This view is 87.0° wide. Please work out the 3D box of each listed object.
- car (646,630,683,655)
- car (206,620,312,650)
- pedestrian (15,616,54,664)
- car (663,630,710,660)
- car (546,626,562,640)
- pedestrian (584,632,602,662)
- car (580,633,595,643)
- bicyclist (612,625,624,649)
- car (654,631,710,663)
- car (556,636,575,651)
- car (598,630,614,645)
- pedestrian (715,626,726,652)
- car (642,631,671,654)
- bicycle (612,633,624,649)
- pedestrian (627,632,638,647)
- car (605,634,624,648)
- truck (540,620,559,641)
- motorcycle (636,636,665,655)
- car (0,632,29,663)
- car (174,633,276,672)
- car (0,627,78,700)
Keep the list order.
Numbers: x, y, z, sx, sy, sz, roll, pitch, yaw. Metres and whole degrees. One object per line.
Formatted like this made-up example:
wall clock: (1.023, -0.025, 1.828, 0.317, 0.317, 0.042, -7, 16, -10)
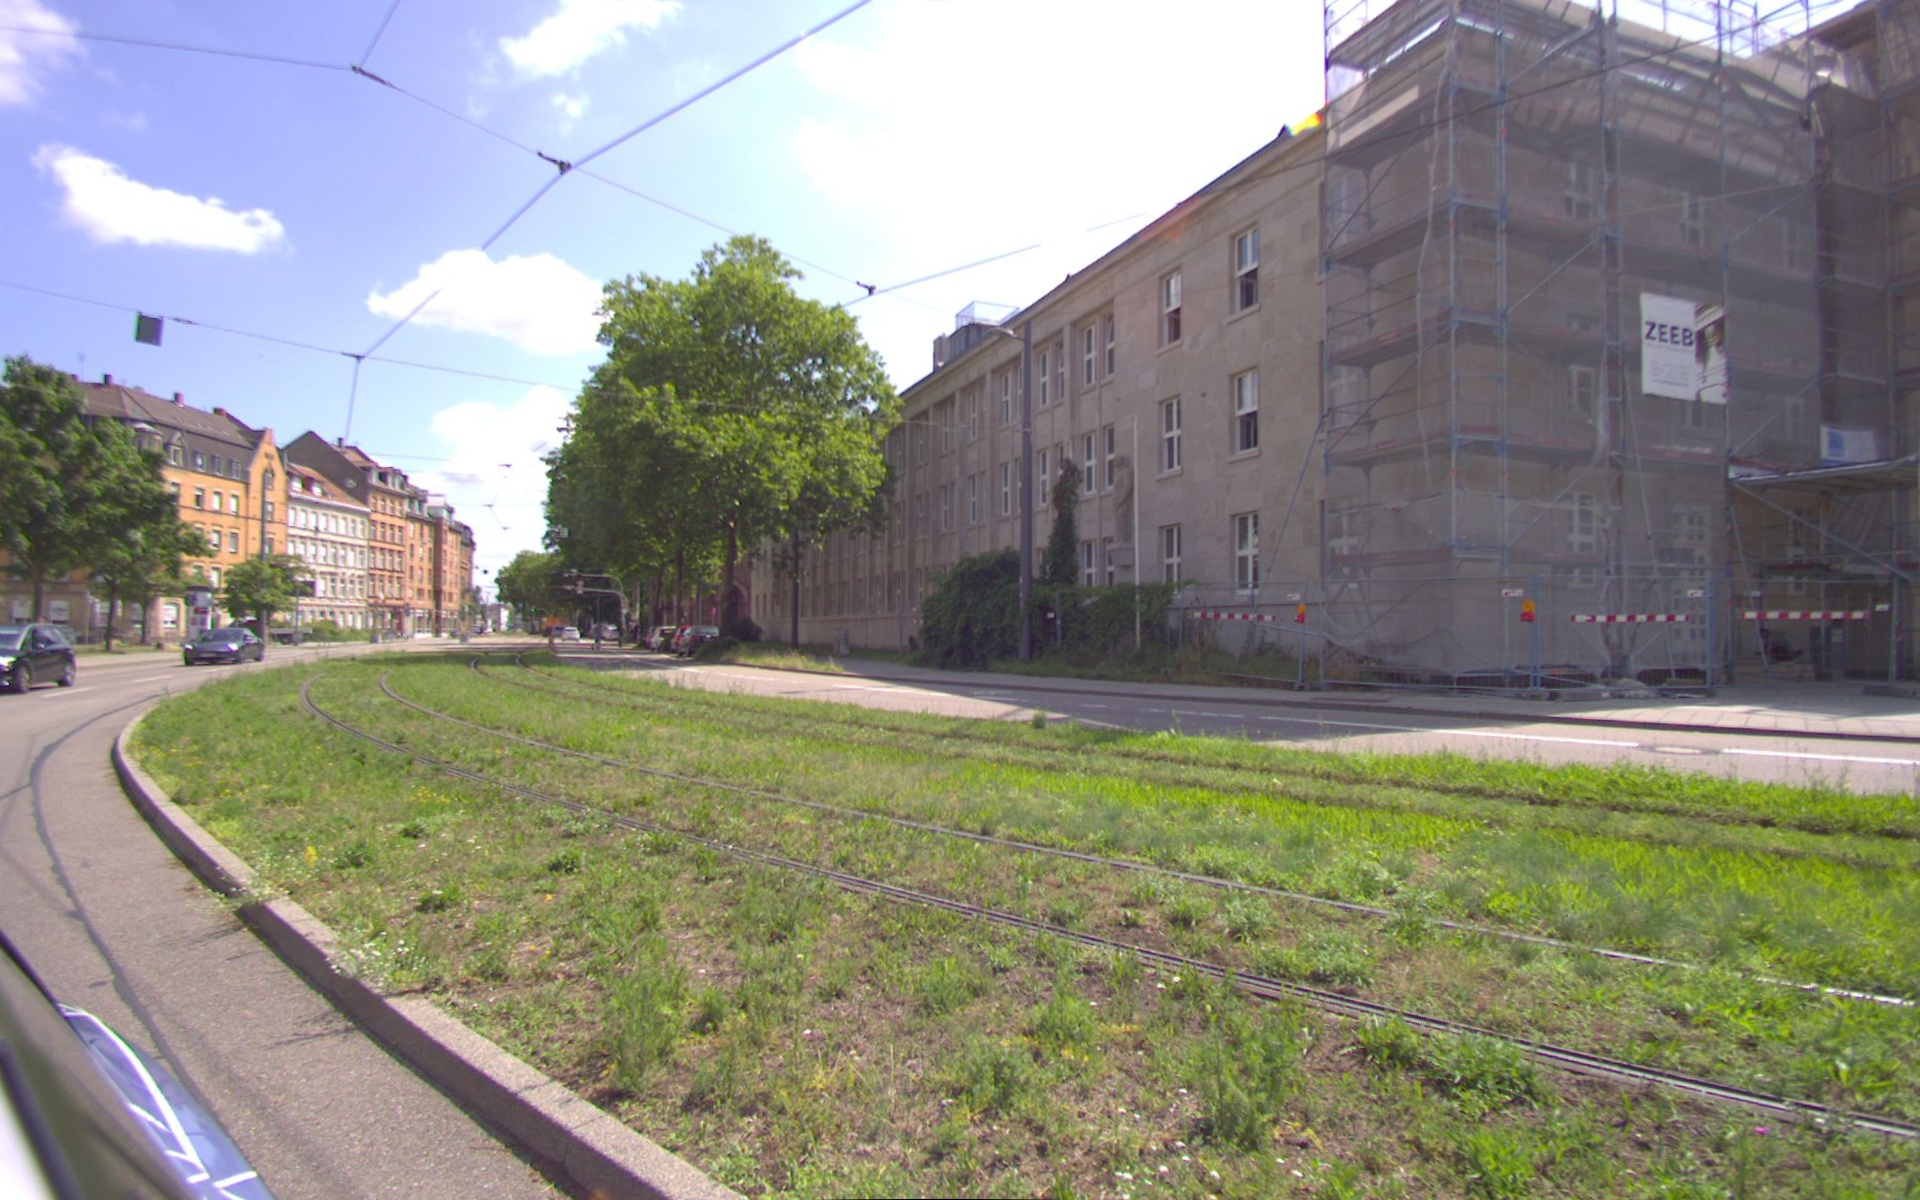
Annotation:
car: (-18.286, 2.630, 62.522, 1.722, 1.465, 3.502, -1, -2, -24)
car: (-57.309, 2.862, 82.915, 6.860, 2.392, 2.270, 1, -2, -28)
pedestrian: (-34.391, 1.481, 37.614, 0.690, 1.717, 1.048, 2, -1, -23)
car: (-14.404, 2.359, 53.195, 1.899, 1.431, 4.063, -1, -2, -22)
car: (-54.913, 4.450, 136.878, 1.893, 1.759, 4.552, 3, -3, -23)
pedestrian: (-21.890, 2.797, 60.383, 0.698, 1.717, 0.777, -2, -1, 25)
car: (-59.222, 6.088, 160.892, 1.732, 1.508, 4.012, 0, -1, -29)
bicyclist: (-25.198, 2.695, 74.478, 0.750, 1.717, 0.786, 0, -1, -23)
car: (-13.172, 2.198, 47.776, 1.899, 1.379, 4.331, -1, -2, -24)
car: (-40.951, 4.493, 105.008, 1.735, 1.491, 3.800, 3, -4, -23)
car: (-43.995, 4.646, 125.648, 1.732, 1.850, 4.013, 0, -1, -22)
pedestrian: (-14.983, 2.459, 63.219, 0.546, 1.603, 0.798, 0, -1, -23)
car: (-20.046, 2.805, 66.842, 1.465, 1.465, 2.892, -1, -2, -24)
bicycle: (-25.207, 2.981, 74.558, 0.779, 1.118, 2.284, 0, -1, -21)
pedestrian: (-27.547, 3.304, 85.225, 0.745, 1.221, 0.916, -5, 0, -20)
car: (-37.990, 4.507, 111.299, 1.732, 1.508, 4.013, -1, -1, -22)
truck: (-63.418, 4.700, 156.284, 2.602, 3.130, 7.246, 2, -2, -22)
motorcycle: (-21.857, 3.182, 71.512, 0.542, 1.185, 2.086, -6, -2, 29)
car: (-44.065, 2.138, 44.938, 3.941, 1.364, 1.963, 0, -2, -45)
car: (-29.320, 2.054, 40.556, 1.884, 1.404, 4.325, -1, -1, -15)
car: (-22.835, 1.458, 23.783, 1.844, 1.631, 4.202, 0, -1, -21)
